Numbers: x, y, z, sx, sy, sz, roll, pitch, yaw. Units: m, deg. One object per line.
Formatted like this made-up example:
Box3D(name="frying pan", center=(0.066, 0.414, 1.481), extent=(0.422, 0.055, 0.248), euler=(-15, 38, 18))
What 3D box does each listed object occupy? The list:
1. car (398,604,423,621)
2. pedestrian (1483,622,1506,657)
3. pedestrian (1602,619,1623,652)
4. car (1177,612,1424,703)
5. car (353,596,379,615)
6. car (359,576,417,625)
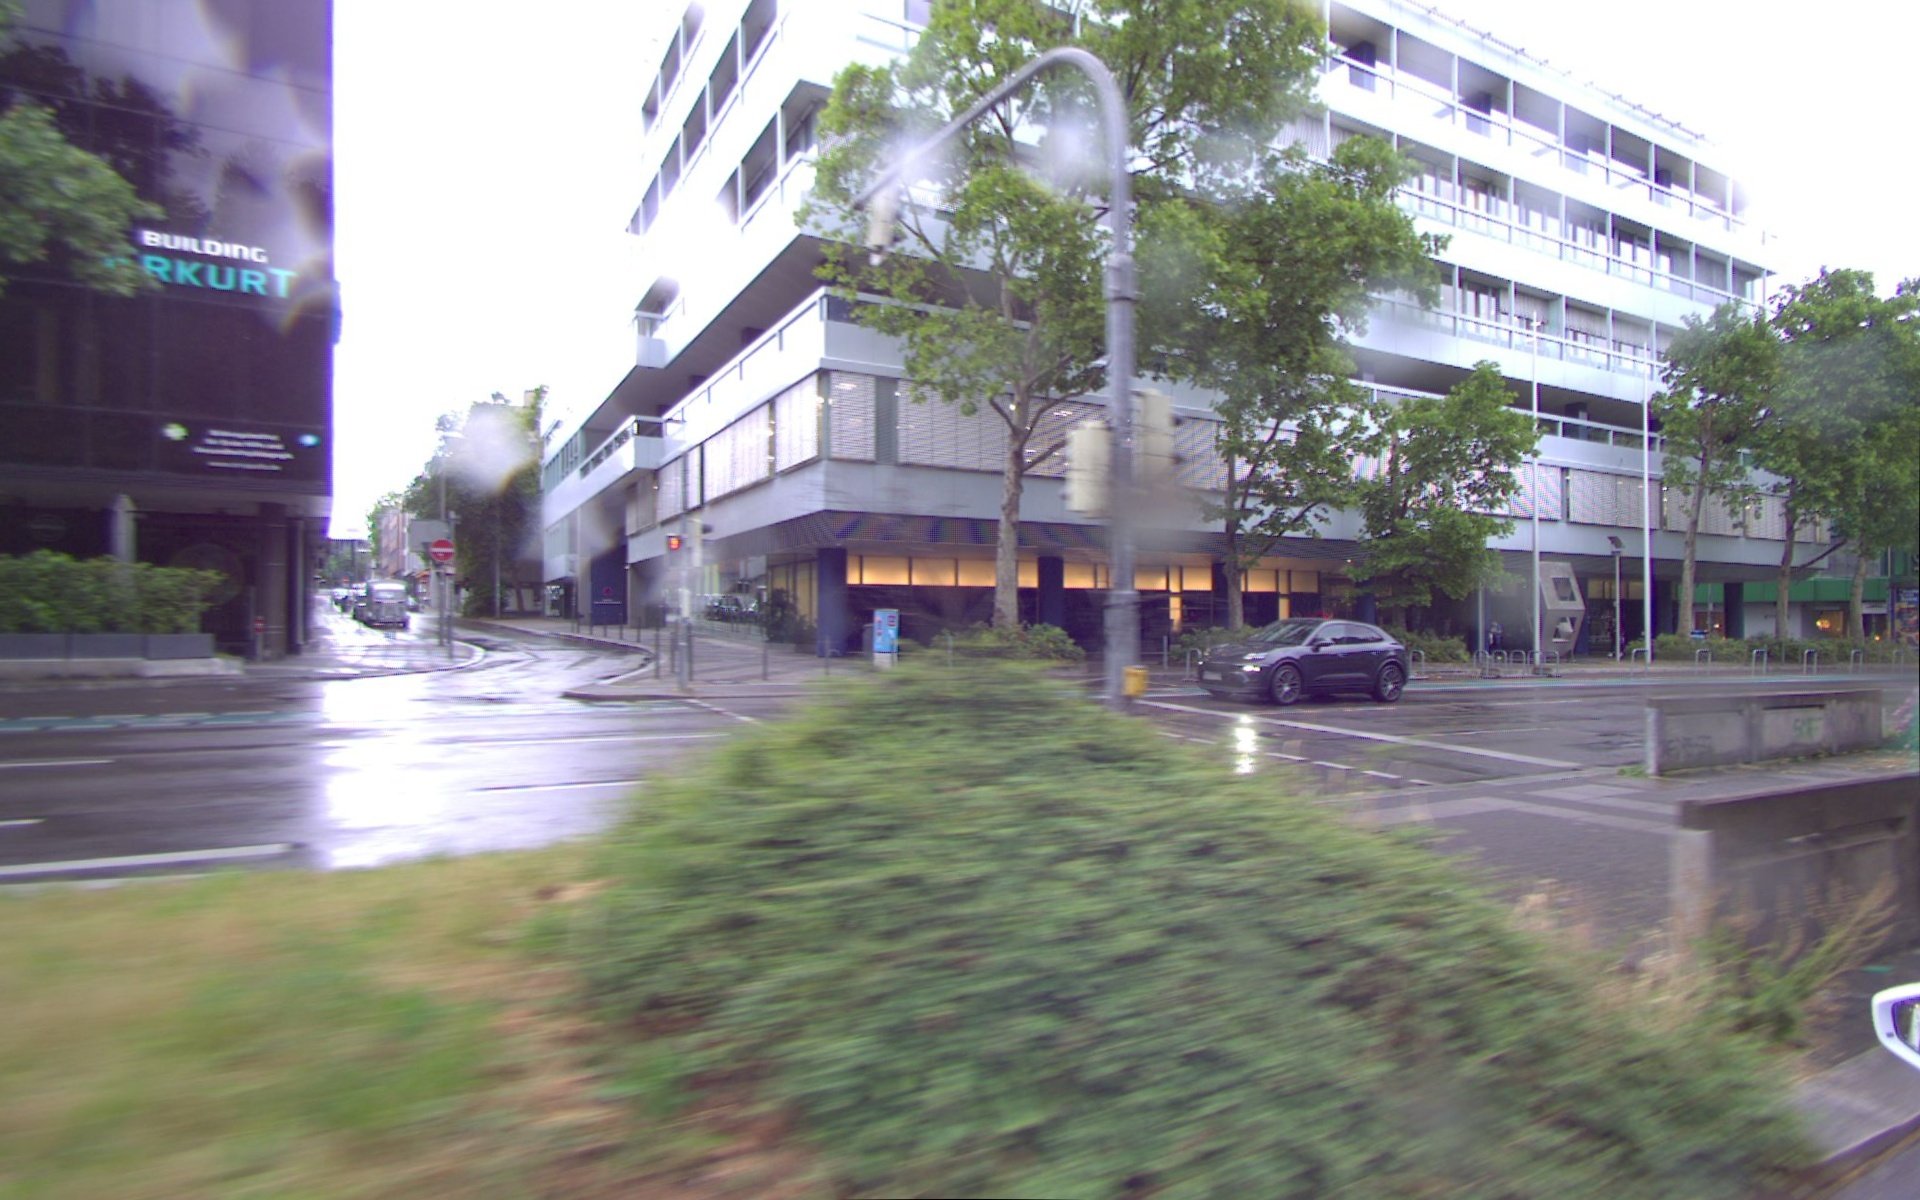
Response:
Box3D(name="car", center=(-55.479, 1.235, 101.319), extent=(1.978, 1.528, 3.965), euler=(2, 0, -32))
Box3D(name="pedestrian", center=(21.919, 1.616, 41.195), extent=(0.469, 1.398, 0.634), euler=(2, 0, -33))
Box3D(name="pedestrian", center=(30.658, 1.676, 47.208), extent=(0.569, 1.502, 0.606), euler=(2, 0, -33))
Box3D(name="car", center=(6.825, 1.142, 20.054), extent=(4.685, 1.605, 1.903), euler=(2, 0, -27))
Box3D(name="car", center=(-38.582, 0.369, 65.261), extent=(1.243, 1.148, 2.592), euler=(2, 0, -35))
Box3D(name="car", center=(-30.472, -0.017, 53.430), extent=(2.227, 2.354, 6.701), euler=(2, 0, -33))
